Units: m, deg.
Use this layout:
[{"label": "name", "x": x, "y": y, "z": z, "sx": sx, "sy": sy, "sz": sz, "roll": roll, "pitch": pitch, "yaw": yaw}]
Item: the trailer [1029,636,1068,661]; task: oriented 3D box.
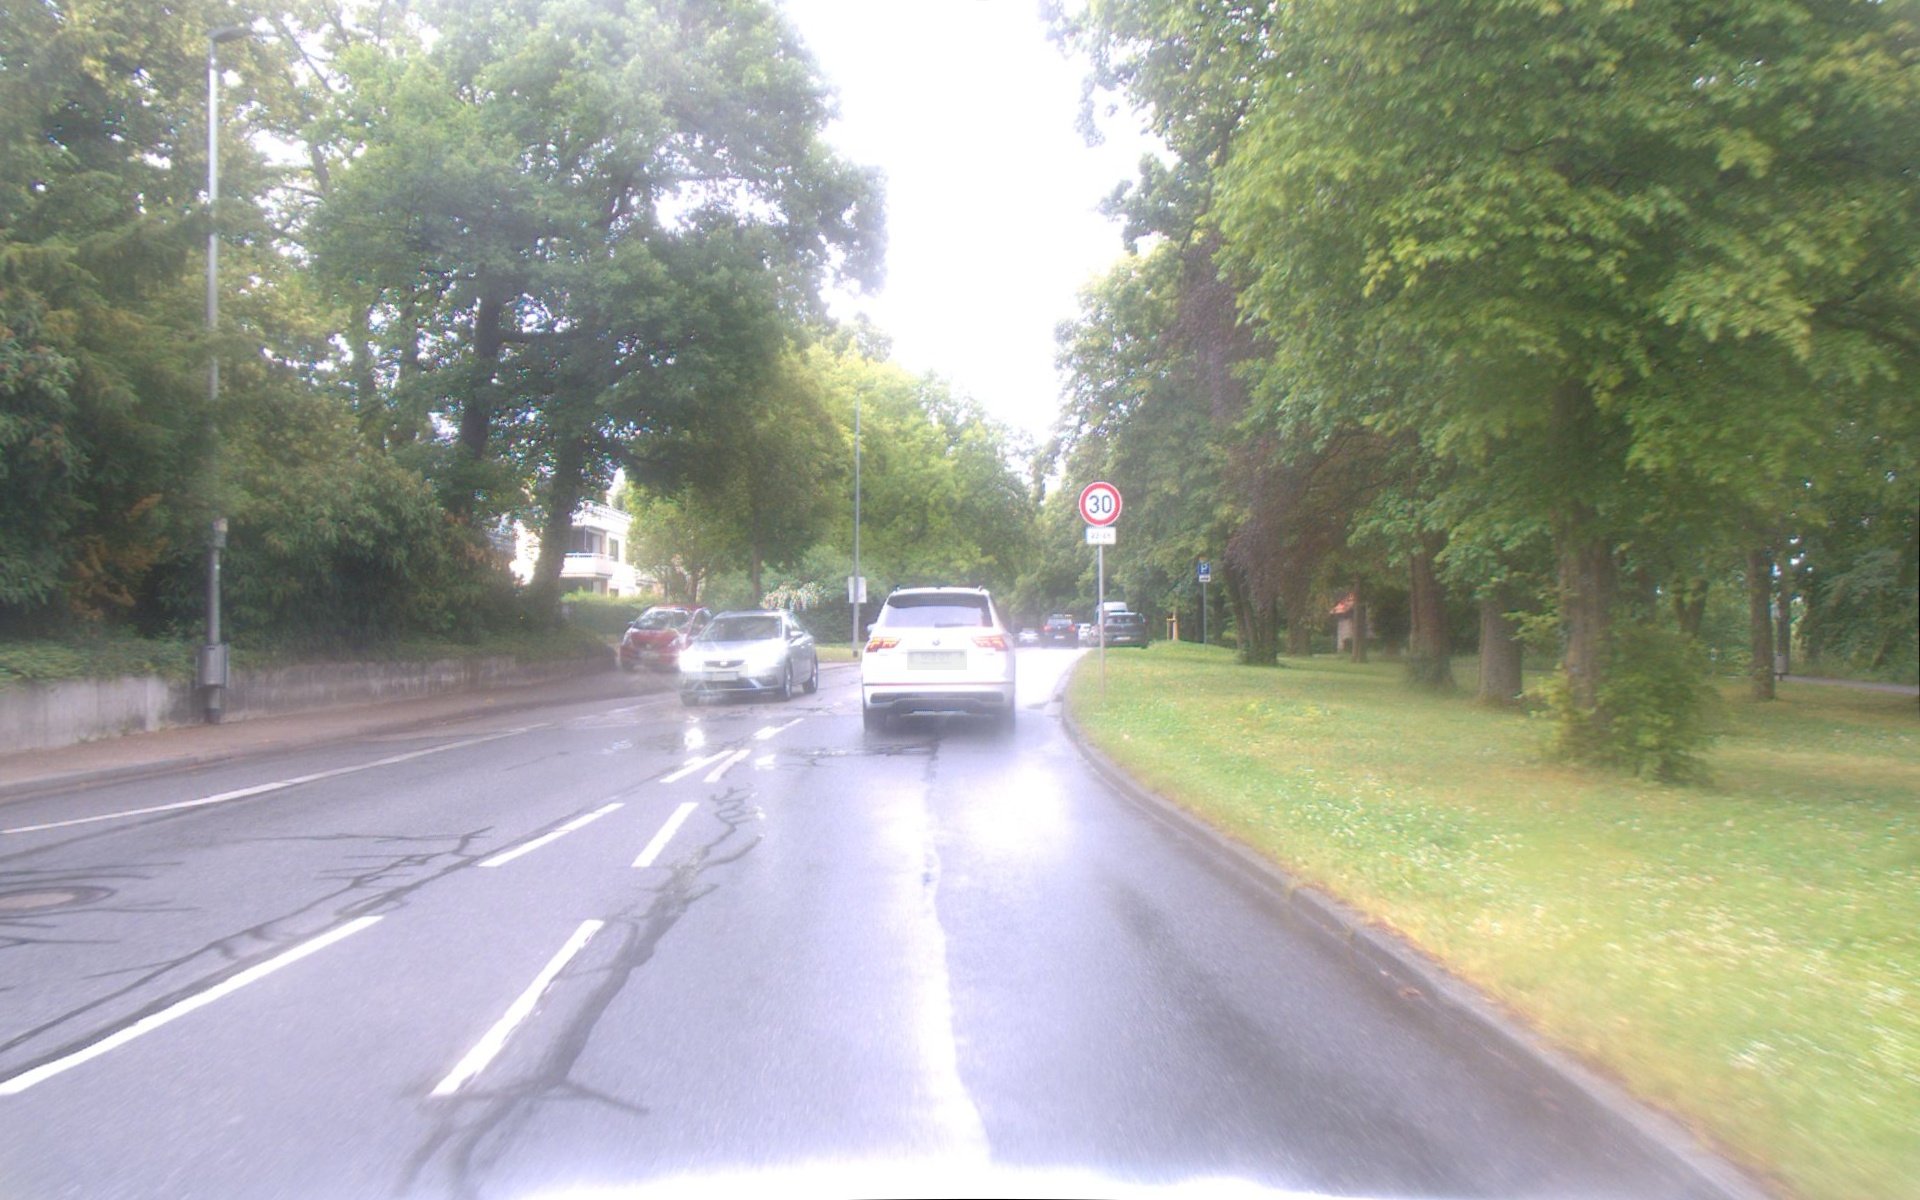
[{"label": "trailer", "x": 7.363, "y": 4.094, "z": 137.941, "sx": 2.402, "sy": 1.845, "sz": 5.883, "roll": -1, "pitch": -4, "yaw": -6}]

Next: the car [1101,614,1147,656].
[{"label": "car", "x": 6.286, "y": 1.352, "z": 63.340, "sx": 1.664, "sy": 1.487, "sz": 4.219, "roll": -2, "pitch": -2, "yaw": 6}]

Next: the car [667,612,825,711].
[{"label": "car", "x": -3.474, "y": 0.971, "z": 27.643, "sx": 1.753, "sy": 1.447, "sz": 4.361, "roll": -2, "pitch": 0, "yaw": 4}]

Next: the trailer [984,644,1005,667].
[{"label": "trailer", "x": 3.535, "y": 5.672, "z": 169.439, "sx": 1.501, "sy": 2.112, "sz": 3.993, "roll": -1, "pitch": -5, "yaw": -7}]

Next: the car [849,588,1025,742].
[{"label": "car", "x": -0.179, "y": 0.744, "z": 20.476, "sx": 1.865, "sy": 1.715, "sz": 4.202, "roll": 0, "pitch": -1, "yaw": 3}]

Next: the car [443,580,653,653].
[{"label": "car", "x": -12.874, "y": 0.510, "z": 52.125, "sx": 5.625, "sy": 2.074, "sz": 3.479, "roll": 1, "pitch": -1, "yaw": 1}]

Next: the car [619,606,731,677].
[{"label": "car", "x": -6.895, "y": 0.980, "z": 40.441, "sx": 1.953, "sy": 1.542, "sz": 4.000, "roll": 3, "pitch": 0, "yaw": 0}]

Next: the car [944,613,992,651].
[{"label": "car", "x": 0.353, "y": 1.300, "z": 67.649, "sx": 1.665, "sy": 1.435, "sz": 4.010, "roll": -2, "pitch": -1, "yaw": 4}]

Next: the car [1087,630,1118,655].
[{"label": "car", "x": 9.366, "y": 2.810, "z": 108.970, "sx": 1.767, "sy": 1.566, "sz": 4.268, "roll": -2, "pitch": -2, "yaw": 2}]

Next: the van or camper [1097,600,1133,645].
[{"label": "van or camper", "x": 9.662, "y": 1.422, "z": 102.339, "sx": 1.973, "sy": 2.628, "sz": 8.441, "roll": 1, "pitch": -1, "yaw": 7}]
